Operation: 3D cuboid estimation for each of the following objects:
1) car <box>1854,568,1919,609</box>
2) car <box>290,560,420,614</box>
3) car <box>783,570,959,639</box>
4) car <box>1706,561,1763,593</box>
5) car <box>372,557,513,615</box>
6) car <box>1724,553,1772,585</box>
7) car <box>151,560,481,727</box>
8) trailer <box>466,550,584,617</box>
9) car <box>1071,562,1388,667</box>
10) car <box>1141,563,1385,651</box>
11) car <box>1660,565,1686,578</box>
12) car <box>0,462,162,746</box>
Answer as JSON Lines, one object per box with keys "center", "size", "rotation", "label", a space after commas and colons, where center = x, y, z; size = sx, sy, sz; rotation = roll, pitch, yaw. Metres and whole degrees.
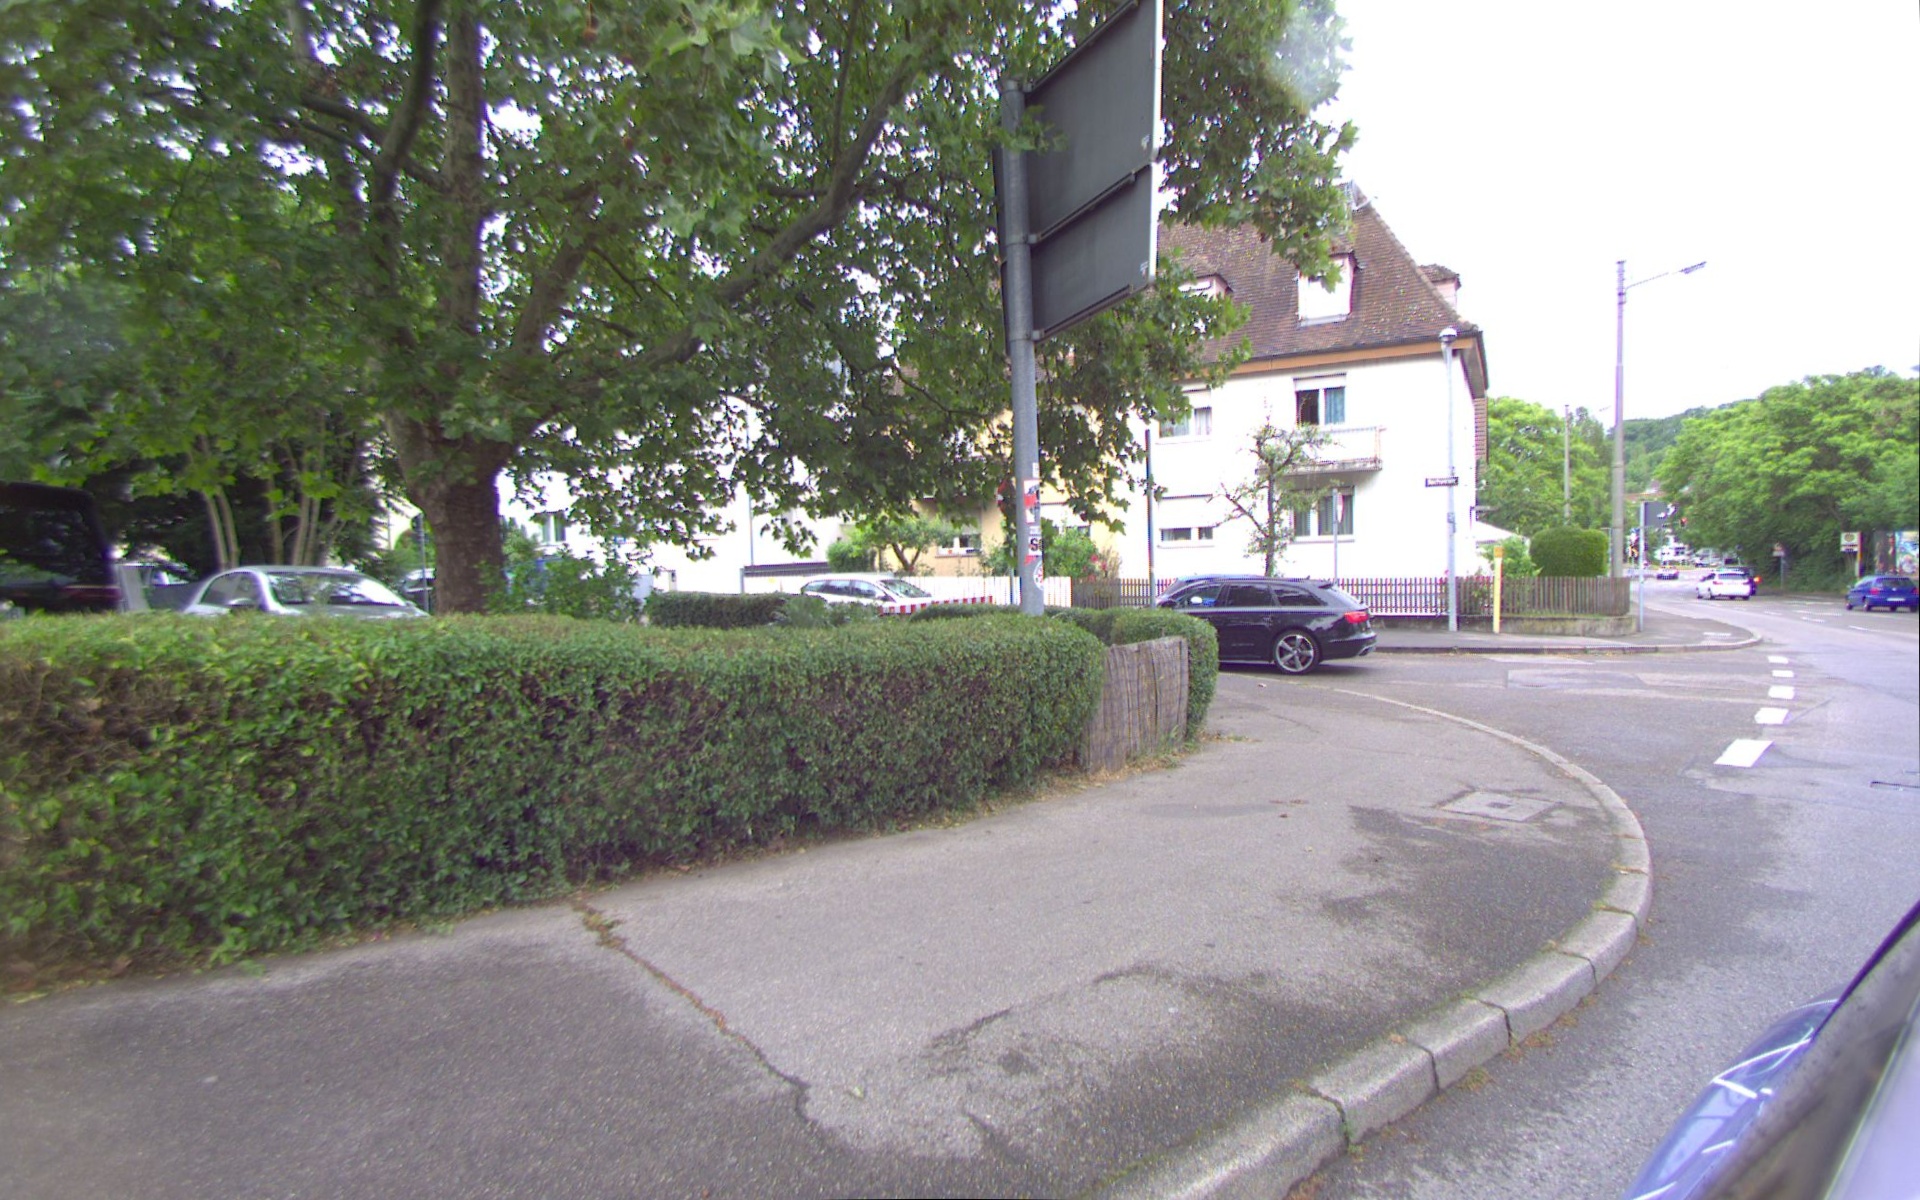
{"center": [36.524, -0.475, 39.567], "size": [1.588, 1.443, 3.661], "rotation": [-1, 2, 29], "label": "car"}
{"center": [-22.066, -0.510, 36.904], "size": [4.535, 1.862, 1.982], "rotation": [1, 2, 28], "label": "car"}
{"center": [-2.072, 0.057, 23.410], "size": [3.752, 1.471, 1.754], "rotation": [1, 1, 30], "label": "car"}
{"center": [43.147, -1.256, 56.468], "size": [1.820, 1.598, 4.290], "rotation": [1, 0, 28], "label": "car"}
{"center": [-17.497, -0.497, 34.188], "size": [4.535, 1.862, 1.982], "rotation": [1, 2, 28], "label": "car"}
{"center": [51.320, -2.019, 66.019], "size": [1.949, 1.955, 4.631], "rotation": [1, 2, 32], "label": "car"}
{"center": [-7.436, 0.361, 11.588], "size": [3.974, 1.599, 1.800], "rotation": [1, 2, 35], "label": "car"}
{"center": [-13.915, -0.555, 32.381], "size": [3.456, 2.038, 1.657], "rotation": [1, 1, 26], "label": "trailer"}
{"center": [4.382, 0.148, 16.556], "size": [4.768, 1.498, 1.870], "rotation": [1, 2, 25], "label": "car"}
{"center": [5.697, 0.054, 19.160], "size": [4.095, 1.498, 1.865], "rotation": [1, 2, 32], "label": "car"}
{"center": [80.600, -3.231, 114.458], "size": [1.884, 1.479, 3.960], "rotation": [1, 2, 29], "label": "car"}
{"center": [-8.527, -0.001, 7.992], "size": [4.376, 1.956, 1.980], "rotation": [1, 2, 29], "label": "car"}
